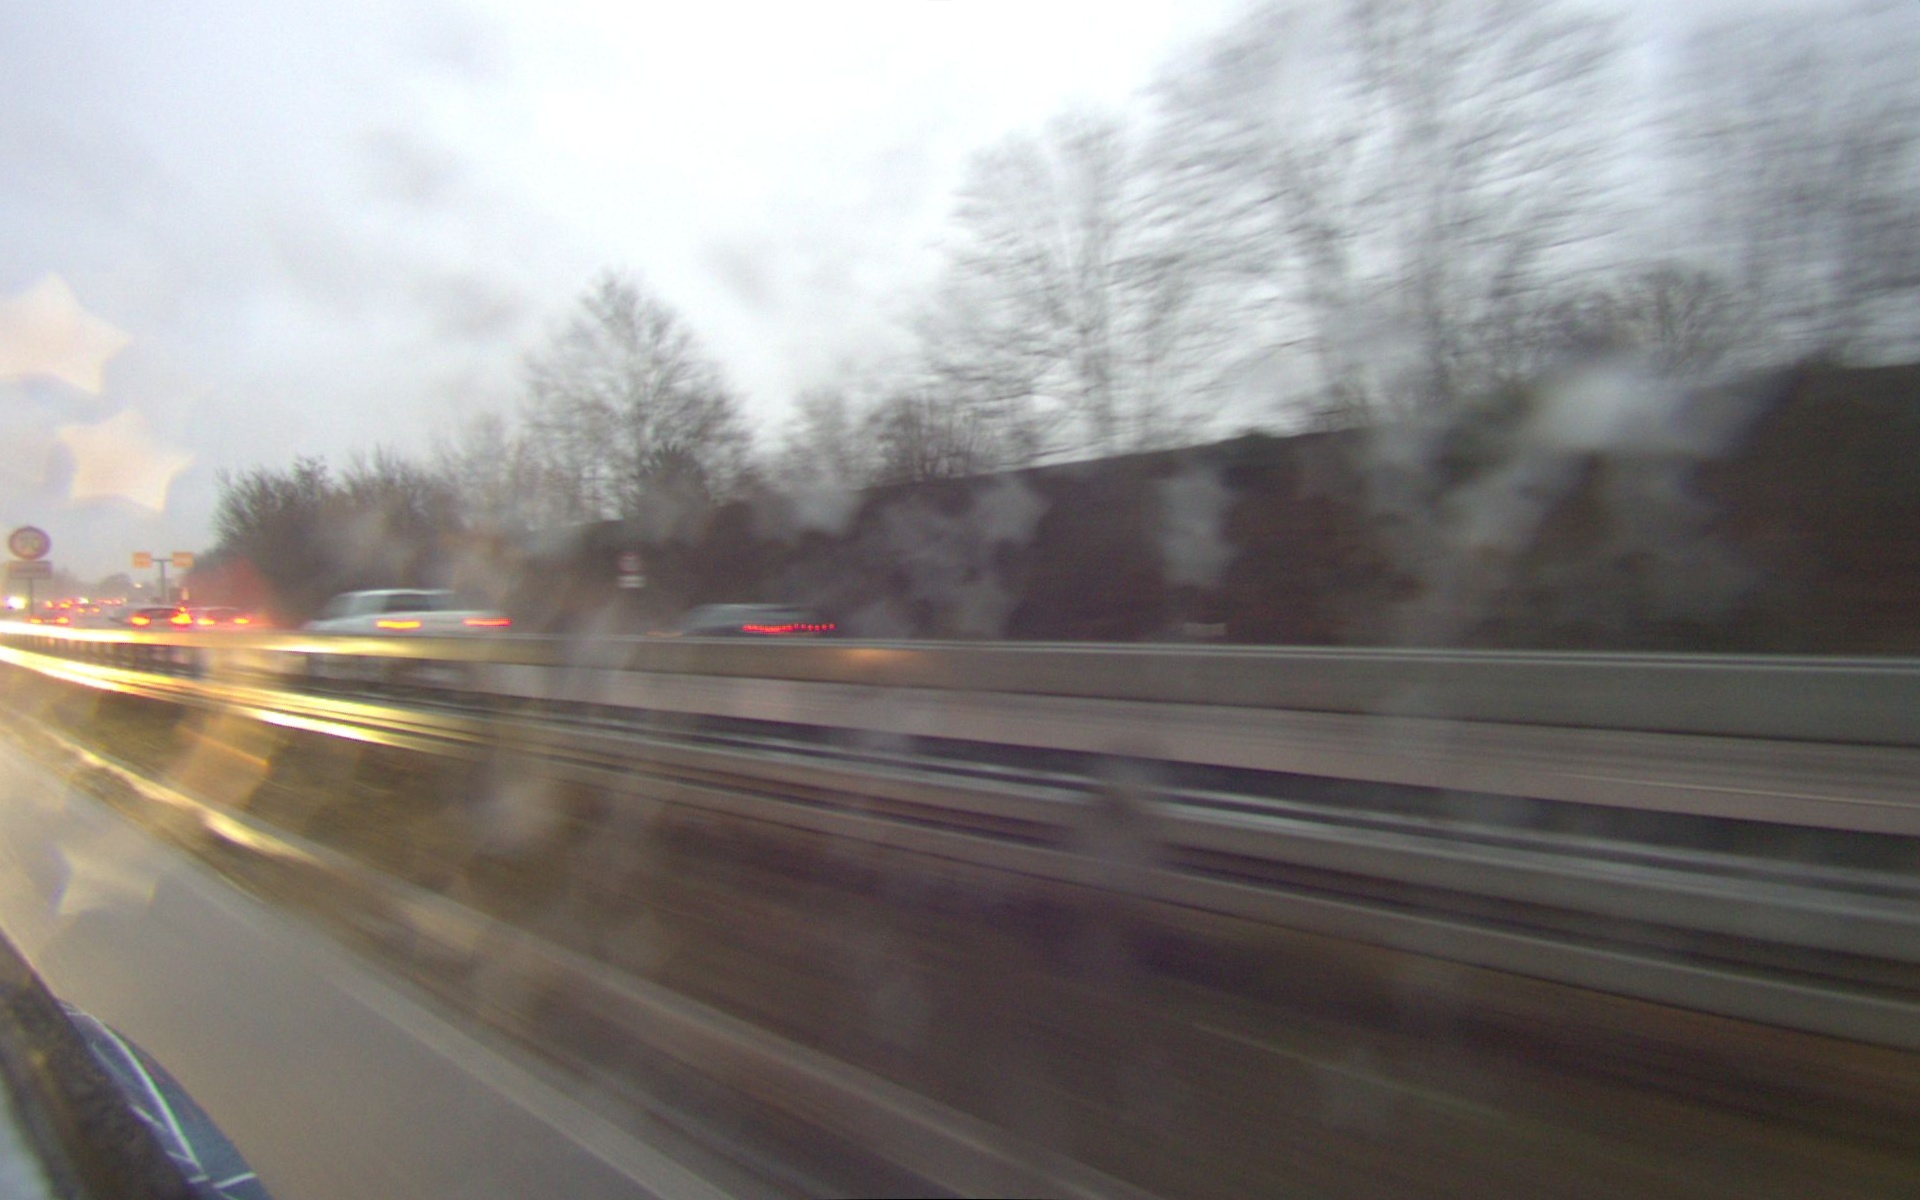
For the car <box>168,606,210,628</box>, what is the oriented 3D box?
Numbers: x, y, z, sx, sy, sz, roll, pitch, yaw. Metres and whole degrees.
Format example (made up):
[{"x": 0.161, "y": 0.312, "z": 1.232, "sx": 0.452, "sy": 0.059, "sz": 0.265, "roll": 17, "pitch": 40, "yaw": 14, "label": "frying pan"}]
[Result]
[{"x": -56.435, "y": 1.227, "z": 74.033, "sx": 4.114, "sy": 1.550, "sz": 1.842, "roll": 0, "pitch": 1, "yaw": 44, "label": "car"}]

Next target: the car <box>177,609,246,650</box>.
[{"x": -33.465, "y": 1.255, "z": 45.208, "sx": 4.433, "sy": 1.678, "sz": 1.674, "roll": 0, "pitch": 1, "yaw": 43, "label": "car"}]

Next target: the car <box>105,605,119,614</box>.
[{"x": -153.527, "y": 1.734, "z": 183.234, "sx": 1.684, "sy": 1.578, "sz": 4.855, "roll": -1, "pitch": 1, "yaw": -43, "label": "car"}]

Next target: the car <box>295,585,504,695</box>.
[{"x": -10.918, "y": 0.666, "z": 19.527, "sx": 5.118, "sy": 1.844, "sz": 1.966, "roll": 0, "pitch": 1, "yaw": 42, "label": "car"}]

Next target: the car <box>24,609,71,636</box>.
[{"x": -52.786, "y": 1.260, "z": 58.542, "sx": 4.001, "sy": 1.452, "sz": 1.735, "roll": 0, "pitch": 1, "yaw": 44, "label": "car"}]

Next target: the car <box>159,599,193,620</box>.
[{"x": -73.204, "y": 0.856, "z": 94.520, "sx": 4.789, "sy": 1.846, "sz": 1.859, "roll": 0, "pitch": 1, "yaw": 45, "label": "car"}]

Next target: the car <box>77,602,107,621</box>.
[{"x": -87.103, "y": 1.150, "z": 101.511, "sx": 4.789, "sy": 1.846, "sz": 1.862, "roll": 0, "pitch": 1, "yaw": 45, "label": "car"}]

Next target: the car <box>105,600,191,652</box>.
[{"x": -28.815, "y": 0.873, "z": 35.884, "sx": 3.999, "sy": 1.696, "sz": 1.748, "roll": 0, "pitch": 1, "yaw": 42, "label": "car"}]
